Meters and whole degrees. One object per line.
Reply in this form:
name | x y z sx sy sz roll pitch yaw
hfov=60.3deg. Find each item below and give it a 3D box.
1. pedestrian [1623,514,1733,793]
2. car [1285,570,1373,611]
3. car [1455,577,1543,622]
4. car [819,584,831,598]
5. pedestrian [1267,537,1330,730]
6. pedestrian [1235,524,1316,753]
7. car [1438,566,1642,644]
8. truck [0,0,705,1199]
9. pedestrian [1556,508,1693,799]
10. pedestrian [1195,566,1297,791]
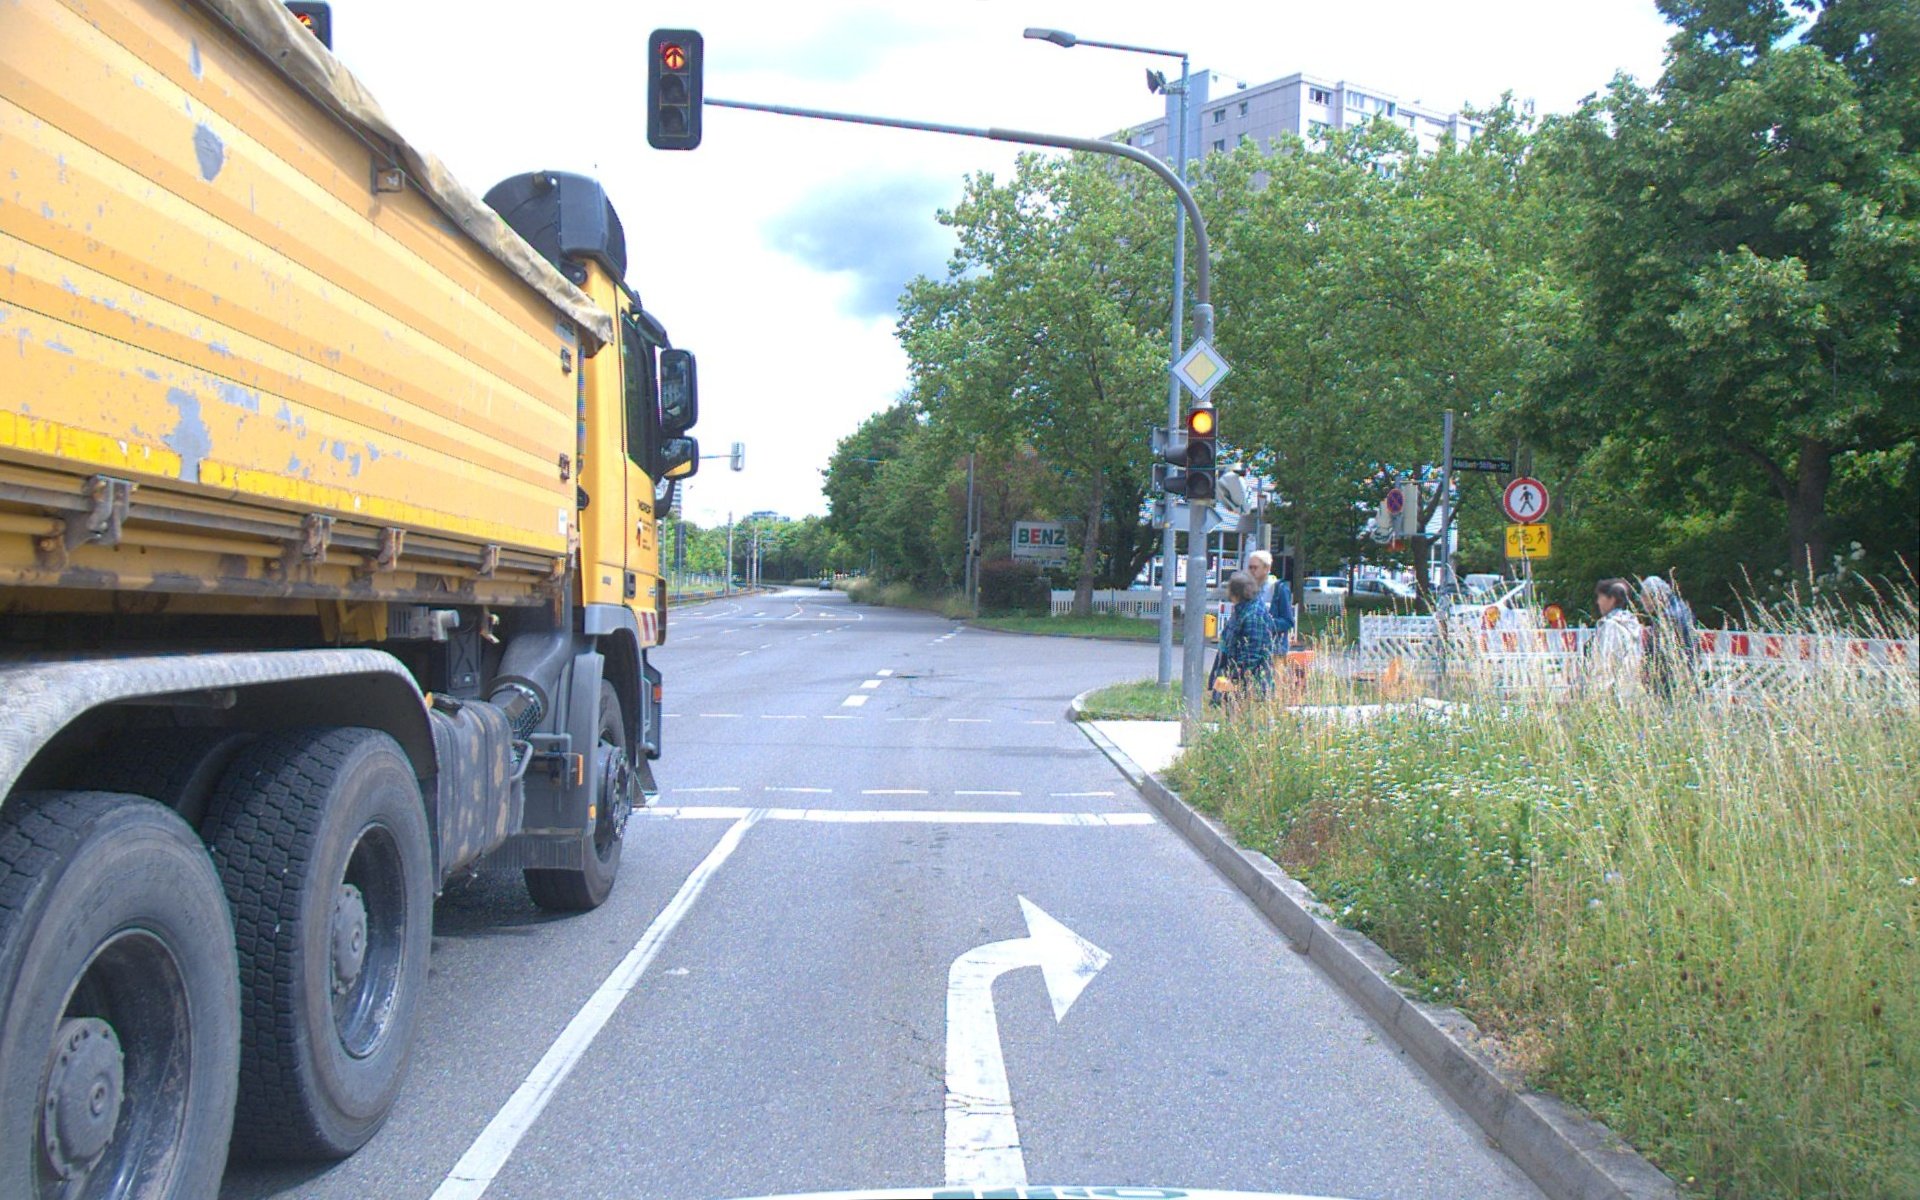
pedestrian | 5.398 0.398 12.444 0.551 2.049 0.490 1 0 -10
car | 17.310 -0.449 77.524 3.960 1.814 1.973 1 1 -39
car | 24.675 -0.023 75.634 3.960 1.988 1.973 1 1 -39
car | -19.754 -1.298 242.754 1.657 1.959 3.996 1 1 -5
pedestrian | 3.655 0.362 17.879 0.490 2.049 0.490 1 0 -10
pedestrian | 2.889 0.350 15.164 0.551 2.049 0.490 1 0 -10
car | 13.193 0.108 37.780 3.906 1.635 1.999 1 1 -2
truck | -2.743 -0.265 5.155 2.697 3.371 8.350 1 1 -1
pedestrian | 4.823 0.383 12.034 0.659 2.049 0.633 1 0 -11
pedestrian | 2.215 0.587 12.780 0.614 1.682 0.562 1 0 25
